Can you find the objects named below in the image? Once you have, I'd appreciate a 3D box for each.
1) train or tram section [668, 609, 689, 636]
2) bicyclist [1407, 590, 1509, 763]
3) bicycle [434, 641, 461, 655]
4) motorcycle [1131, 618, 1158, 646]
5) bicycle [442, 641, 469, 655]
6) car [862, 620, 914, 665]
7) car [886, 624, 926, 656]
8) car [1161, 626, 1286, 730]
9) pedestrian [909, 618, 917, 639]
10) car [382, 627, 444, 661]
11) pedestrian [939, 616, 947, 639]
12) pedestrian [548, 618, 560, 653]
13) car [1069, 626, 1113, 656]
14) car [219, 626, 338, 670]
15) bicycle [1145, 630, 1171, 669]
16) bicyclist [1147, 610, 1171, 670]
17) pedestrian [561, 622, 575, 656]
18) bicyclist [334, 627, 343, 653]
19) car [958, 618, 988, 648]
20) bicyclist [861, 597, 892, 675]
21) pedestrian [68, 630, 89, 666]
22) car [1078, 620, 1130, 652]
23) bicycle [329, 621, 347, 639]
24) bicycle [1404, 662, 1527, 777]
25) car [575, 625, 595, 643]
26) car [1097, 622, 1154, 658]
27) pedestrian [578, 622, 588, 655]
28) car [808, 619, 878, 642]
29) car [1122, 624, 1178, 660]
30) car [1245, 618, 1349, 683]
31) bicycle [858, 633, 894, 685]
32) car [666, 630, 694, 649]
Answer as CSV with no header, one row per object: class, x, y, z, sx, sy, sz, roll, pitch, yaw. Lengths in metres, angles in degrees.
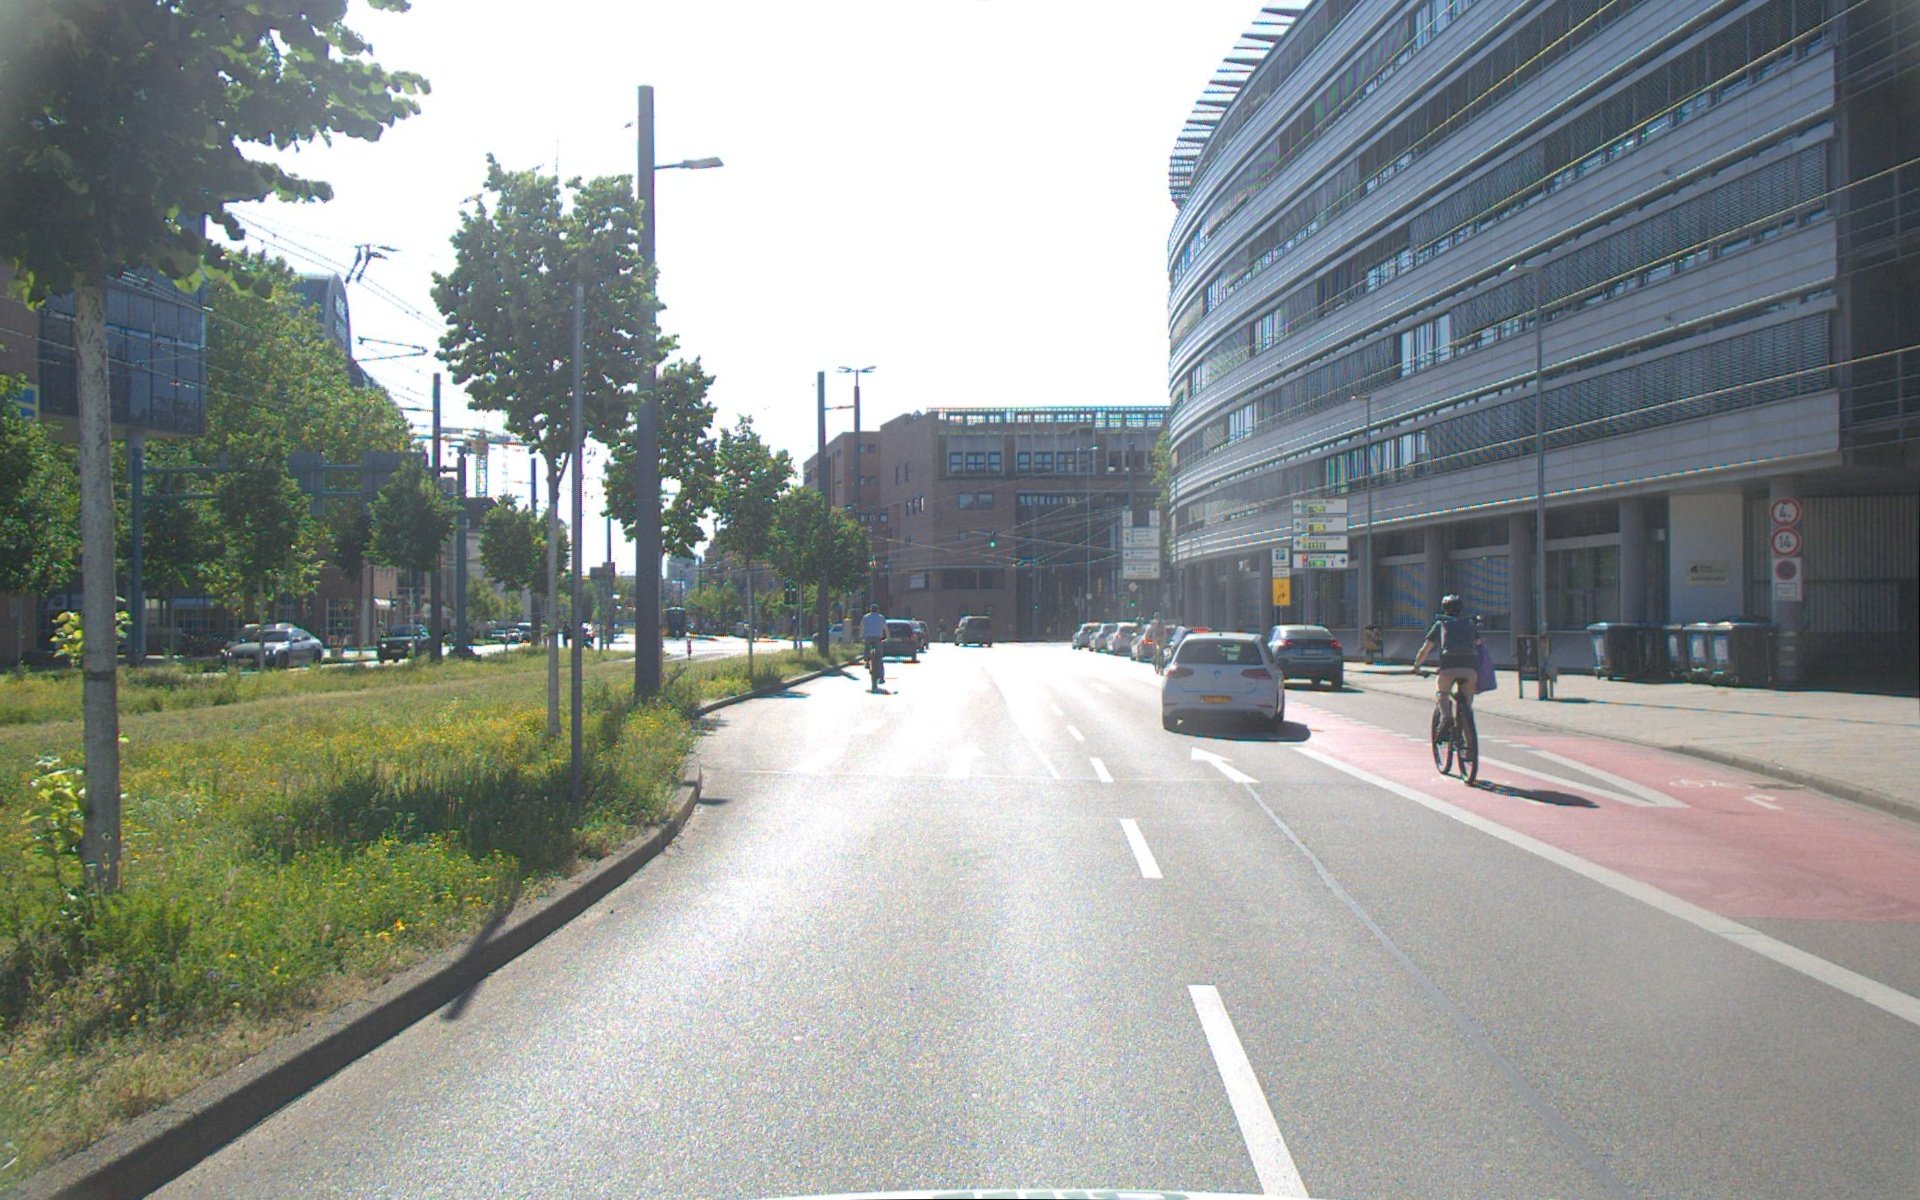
train or tram section,-33.617,2.713,197.098,2.285,3.056,13.124,0,-1,-11
bicyclist,5.149,0.771,17.161,0.789,1.722,1.052,1,-1,4
bicycle,-50.640,4.780,163.396,2.435,1.333,0.733,0,-1,-4
motorcycle,8.127,1.413,72.888,0.812,1.222,2.389,1,-1,-2
bicycle,-50.657,4.818,165.997,2.435,1.333,0.733,0,-1,-4
car,-2.657,1.571,61.813,1.691,1.591,3.677,-1,-1,1
car,-2.629,1.923,79.649,1.692,1.474,4.516,-1,-1,-5
car,4.217,1.162,26.009,1.735,1.428,4.297,2,-1,11
pedestrian,-3.503,2.113,123.300,0.471,1.606,0.412,0,-1,-18
car,-22.823,1.828,69.097,1.398,1.383,3.296,0,-1,1
pedestrian,-1.261,2.043,122.645,0.471,1.685,0.489,0,-1,-18
pedestrian,-21.607,1.894,88.040,0.457,1.863,0.452,0,-1,-39
car,7.478,2.335,94.698,1.868,1.611,4.135,1,0,-4
car,-22.542,1.569,54.914,1.953,1.357,4.789,0,-1,0
bicycle,6.030,1.508,50.398,0.635,1.129,1.758,-1,0,2
bicyclist,6.018,1.188,50.029,0.635,1.783,1.045,-1,0,2
pedestrian,-21.084,2.093,89.041,0.577,1.863,0.491,0,-1,-40
bicyclist,-32.982,2.115,87.796,0.333,1.401,0.481,0,-2,-2
car,0.778,2.034,102.153,1.746,1.733,4.137,1,0,-1
bicyclist,-1.858,0.800,36.809,0.605,1.699,1.019,1,-1,-1
pedestrian,-40.222,2.198,75.471,0.496,1.653,0.788,0,-2,-1
car,7.419,1.834,85.358,1.870,1.568,4.132,1,0,-7
bicycle,-32.978,1.605,87.699,0.346,0.942,1.894,0,-2,-2
bicycle,5.195,1.201,17.118,0.808,1.055,1.892,1,-1,4
car,-34.227,3.068,150.892,1.582,1.422,3.905,-4,1,-13
car,7.875,1.882,79.100,1.870,1.611,4.132,1,0,-7
pedestrian,-20.869,2.125,91.489,0.381,1.863,0.458,0,-1,-33
car,-7.387,1.928,104.000,4.336,1.405,2.053,-2,-1,44
car,7.744,1.694,67.780,1.686,1.420,4.787,0,-1,-1
car,8.560,1.253,42.320,1.686,1.551,4.398,0,-1,-1
bicycle,-1.865,1.291,36.917,0.672,1.088,2.696,1,-1,-1
car,-27.214,3.843,160.605,2.226,1.758,3.926,0,-1,-17
